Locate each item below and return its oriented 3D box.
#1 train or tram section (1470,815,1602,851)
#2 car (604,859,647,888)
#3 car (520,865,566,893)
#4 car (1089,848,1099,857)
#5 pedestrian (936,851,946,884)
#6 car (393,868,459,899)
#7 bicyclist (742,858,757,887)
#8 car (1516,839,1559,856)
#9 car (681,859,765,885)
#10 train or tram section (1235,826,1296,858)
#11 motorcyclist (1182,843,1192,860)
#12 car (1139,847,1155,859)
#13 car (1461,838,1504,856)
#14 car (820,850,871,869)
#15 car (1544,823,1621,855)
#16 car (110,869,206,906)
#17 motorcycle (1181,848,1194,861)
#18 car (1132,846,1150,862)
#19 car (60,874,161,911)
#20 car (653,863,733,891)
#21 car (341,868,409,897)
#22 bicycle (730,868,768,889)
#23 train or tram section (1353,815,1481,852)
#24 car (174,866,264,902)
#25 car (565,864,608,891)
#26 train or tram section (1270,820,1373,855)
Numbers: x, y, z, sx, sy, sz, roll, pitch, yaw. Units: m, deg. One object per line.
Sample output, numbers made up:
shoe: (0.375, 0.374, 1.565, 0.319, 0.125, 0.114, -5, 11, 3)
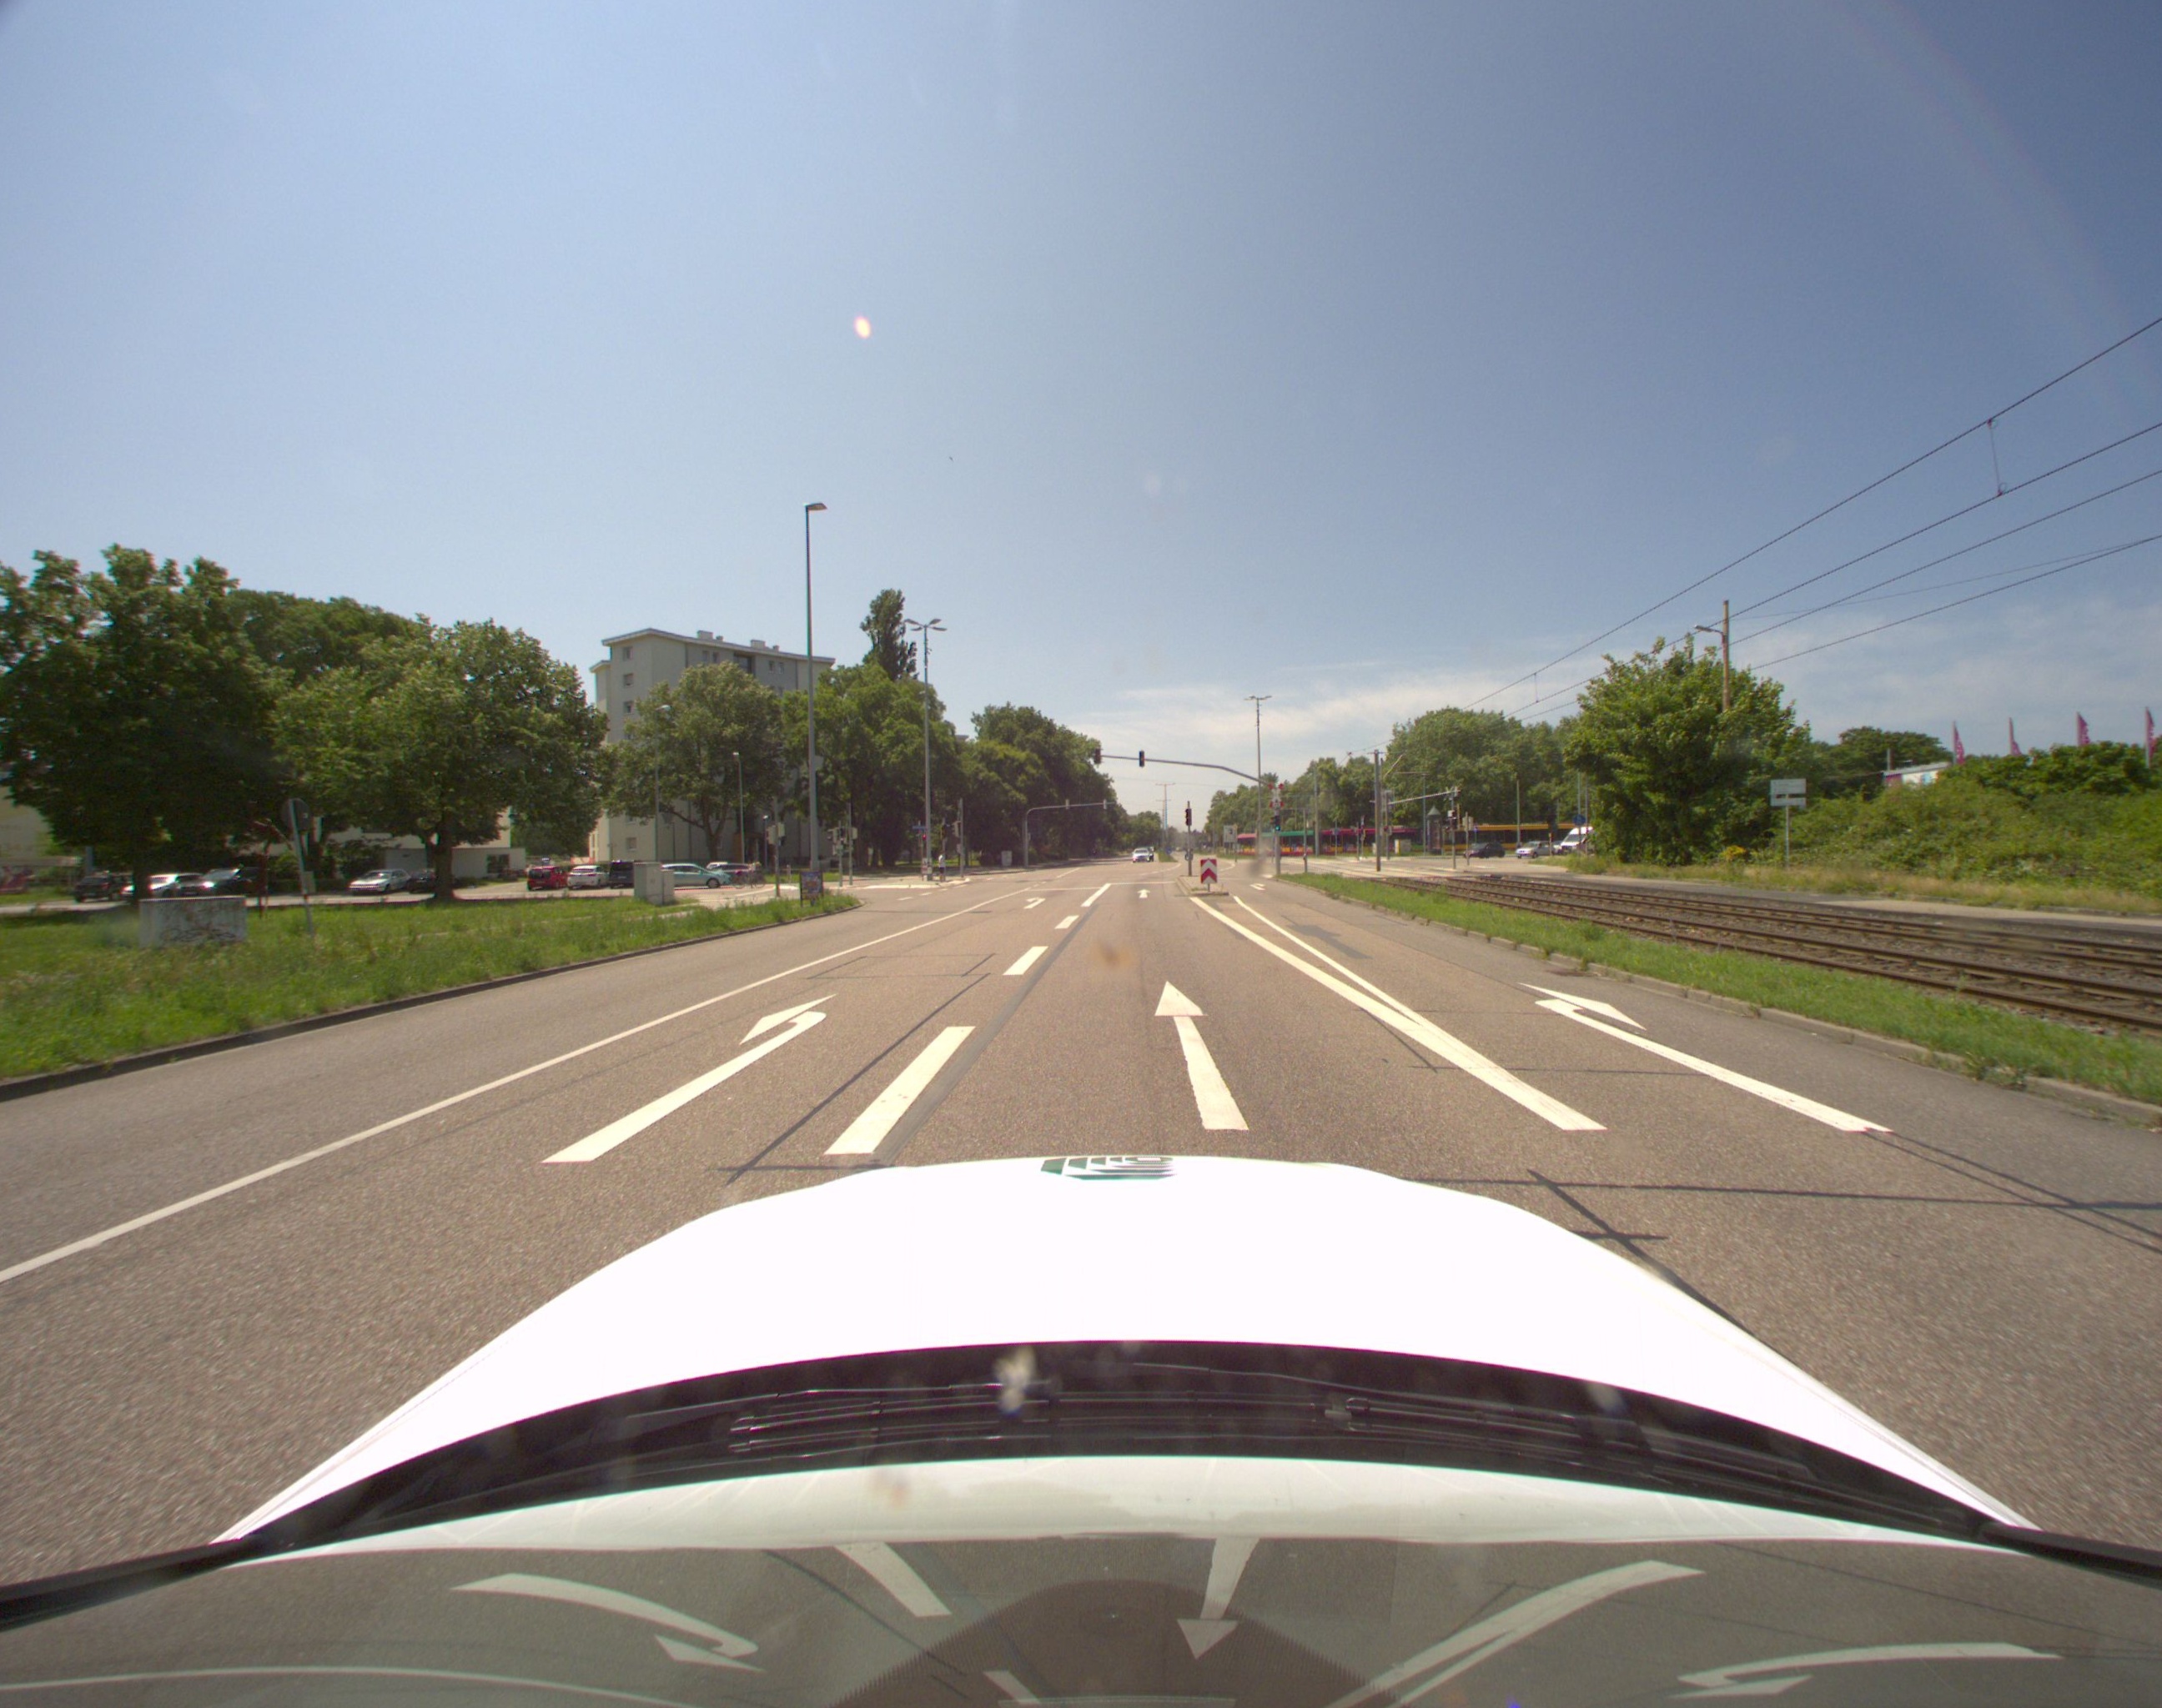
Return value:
train or tram section: (52.800, -2.443, 94.659, 13.887, 3.919, 2.920, 0, -2, -3)
car: (-30.549, 1.296, 54.733, 1.708, 1.800, 3.978, 0, 0, -17)
car: (-35.333, 1.620, 53.546, 1.855, 1.668, 3.968, -1, 0, -24)
car: (2.929, -0.330, 178.144, 1.985, 2.013, 4.003, 2, 0, 3)
pedestrian: (-7.313, 0.687, 42.622, 0.380, 1.687, 0.486, -1, 0, 2)
car: (-41.648, 1.837, 51.892, 1.850, 1.711, 3.977, -3, 1, -17)
bicyclist: (-18.399, 1.016, 45.251, 0.665, 1.537, 0.627, -1, 0, -17)
car: (40.387, -0.578, 72.029, 3.817, 1.463, 1.625, -2, 0, -29)
car: (-22.844, 1.146, 52.186, 4.621, 1.499, 1.904, -1, 0, -14)
train or tram section: (25.668, -1.576, 114.311, 2.918, 3.812, 13.010, 1, -2, -14)
motorcyclist: (10.269, -0.211, 78.985, 0.784, 1.643, 1.216, 0, 0, 17)
car: (7.600, -0.111, 94.134, 1.702, 1.365, 3.872, -1, 0, 6)
car: (36.488, -0.654, 73.982, 3.516, 1.463, 1.626, -2, 0, -26)
car: (-23.654, 0.501, 81.805, 4.575, 1.768, 1.769, -2, 0, -44)
car: (47.103, -1.444, 76.433, 7.298, 2.802, 2.694, -2, 0, -26)
car: (-53.588, 1.894, 47.411, 1.850, 1.947, 3.978, 0, 0, -17)
motorcycle: (10.319, 0.055, 79.138, 0.840, 1.255, 2.460, 0, 0, 17)
car: (6.362, 0.001, 86.488, 1.775, 1.628, 3.872, -1, 0, 6)
car: (-56.468, 2.187, 47.489, 1.850, 1.947, 3.978, 0, 0, -17)
car: (-22.178, 1.298, 46.683, 3.897, 1.468, 1.764, -1, 0, -19)
car: (-43.838, 1.740, 50.647, 1.692, 1.562, 3.817, -1, 0, -16)
bicycle: (-18.438, 1.364, 45.236, 1.868, 1.093, 0.642, -1, 0, -17)
train or tram section: (39.807, -2.342, 96.916, 13.870, 3.919, 2.940, -1, -3, 24)
car: (-50.540, 1.719, 47.877, 1.850, 1.947, 3.978, 0, 0, -17)
car: (-32.793, 1.525, 54.084, 1.711, 1.592, 3.972, 0, 0, -21)
train or tram section: (30.448, -1.996, 104.064, 2.937, 3.812, 13.302, 2, -3, -38)
